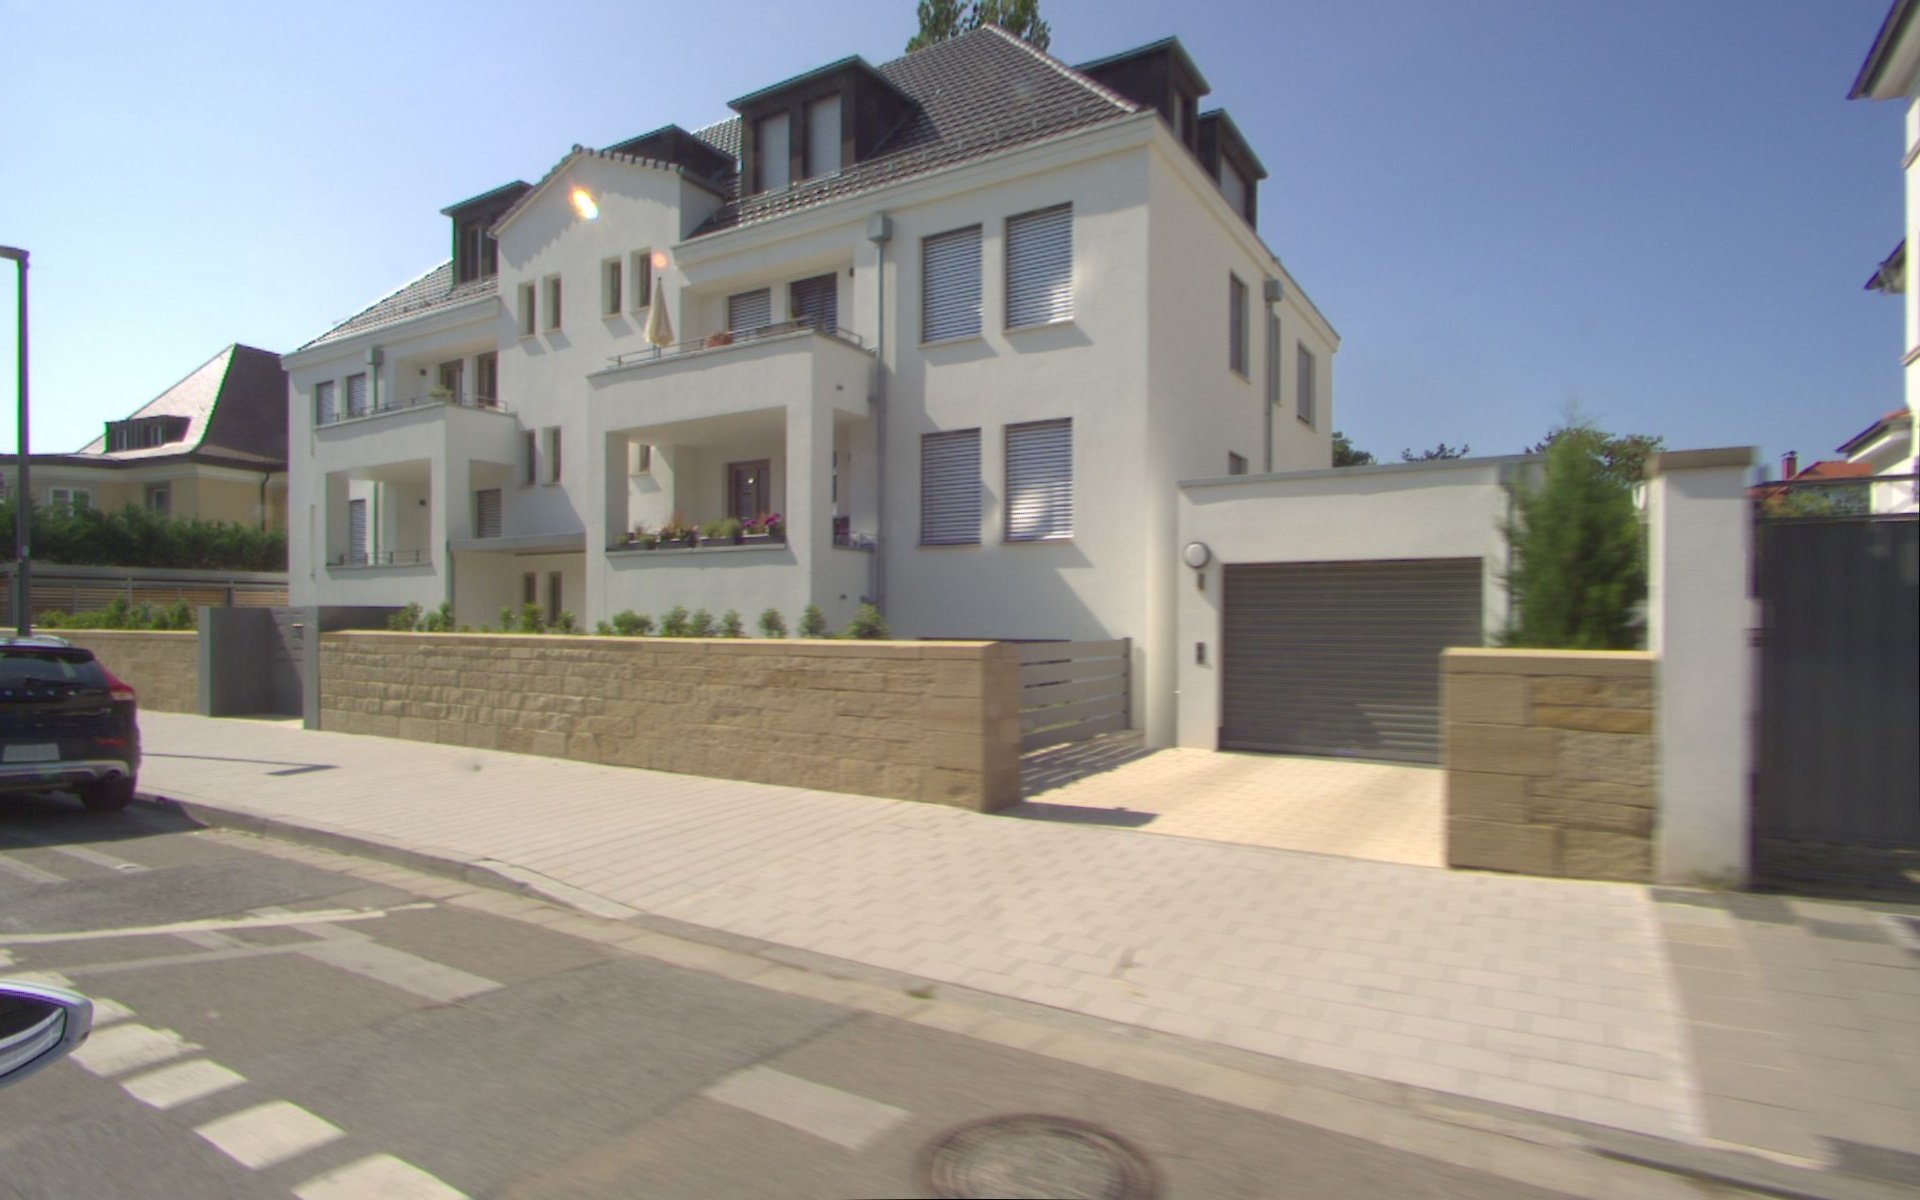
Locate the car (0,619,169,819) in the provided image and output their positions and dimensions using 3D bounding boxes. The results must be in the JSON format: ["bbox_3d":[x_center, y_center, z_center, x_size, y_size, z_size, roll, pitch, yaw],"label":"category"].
[{"bbox_3d":[-8.751,0.917,8.571,4.107,1.466,1.721,-1,-5,31],"label":"car"}]
